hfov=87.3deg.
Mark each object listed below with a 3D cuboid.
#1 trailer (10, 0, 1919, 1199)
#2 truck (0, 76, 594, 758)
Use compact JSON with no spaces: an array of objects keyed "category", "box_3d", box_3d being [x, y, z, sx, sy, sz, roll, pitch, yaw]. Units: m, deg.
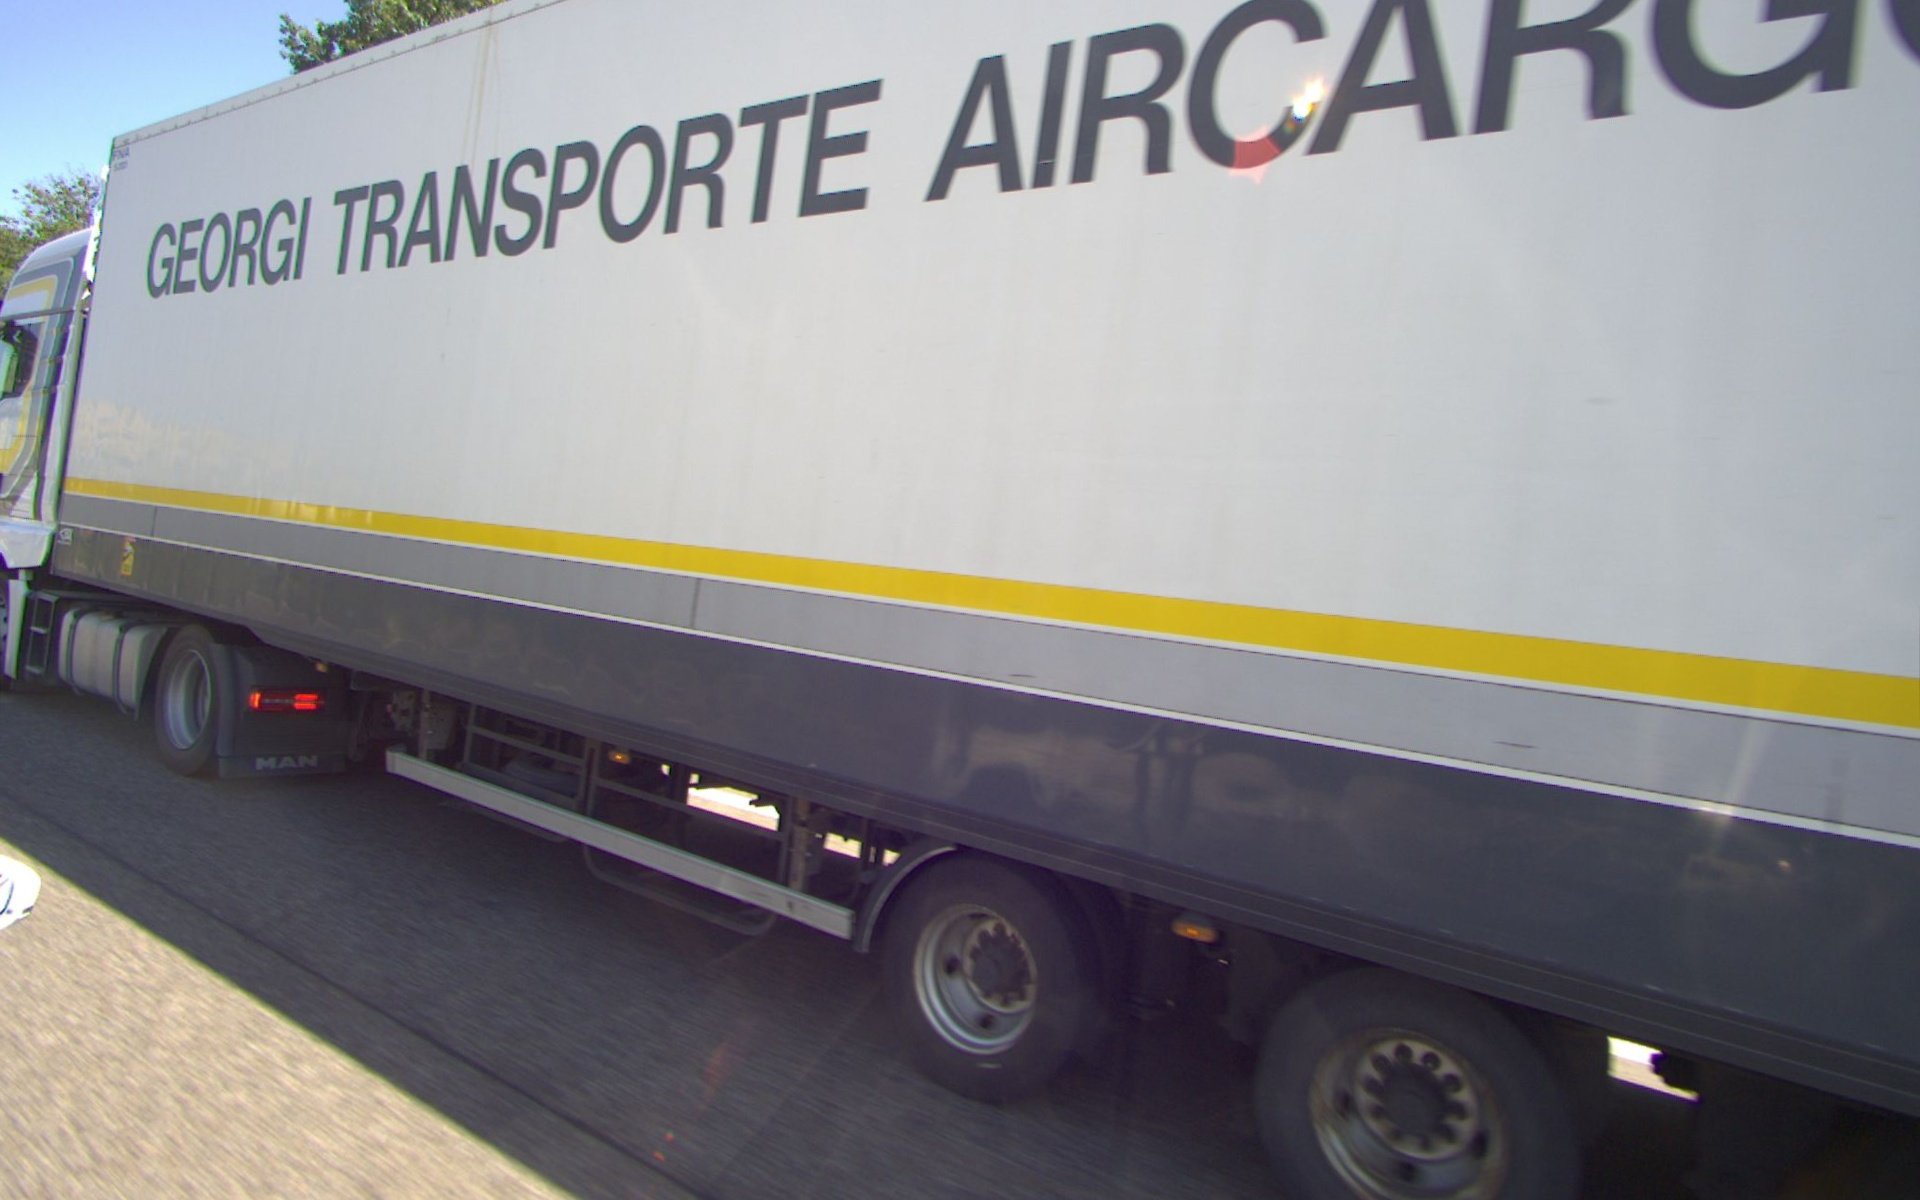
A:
[{"category":"trailer","box_3d":[0.082,-0.530,4.774,13.194,4.339,2.999,7,-1,31]},{"category":"truck","box_3d":[-6.356,-1.217,8.748,5.165,4.174,3.007,6,-1,31]}]
